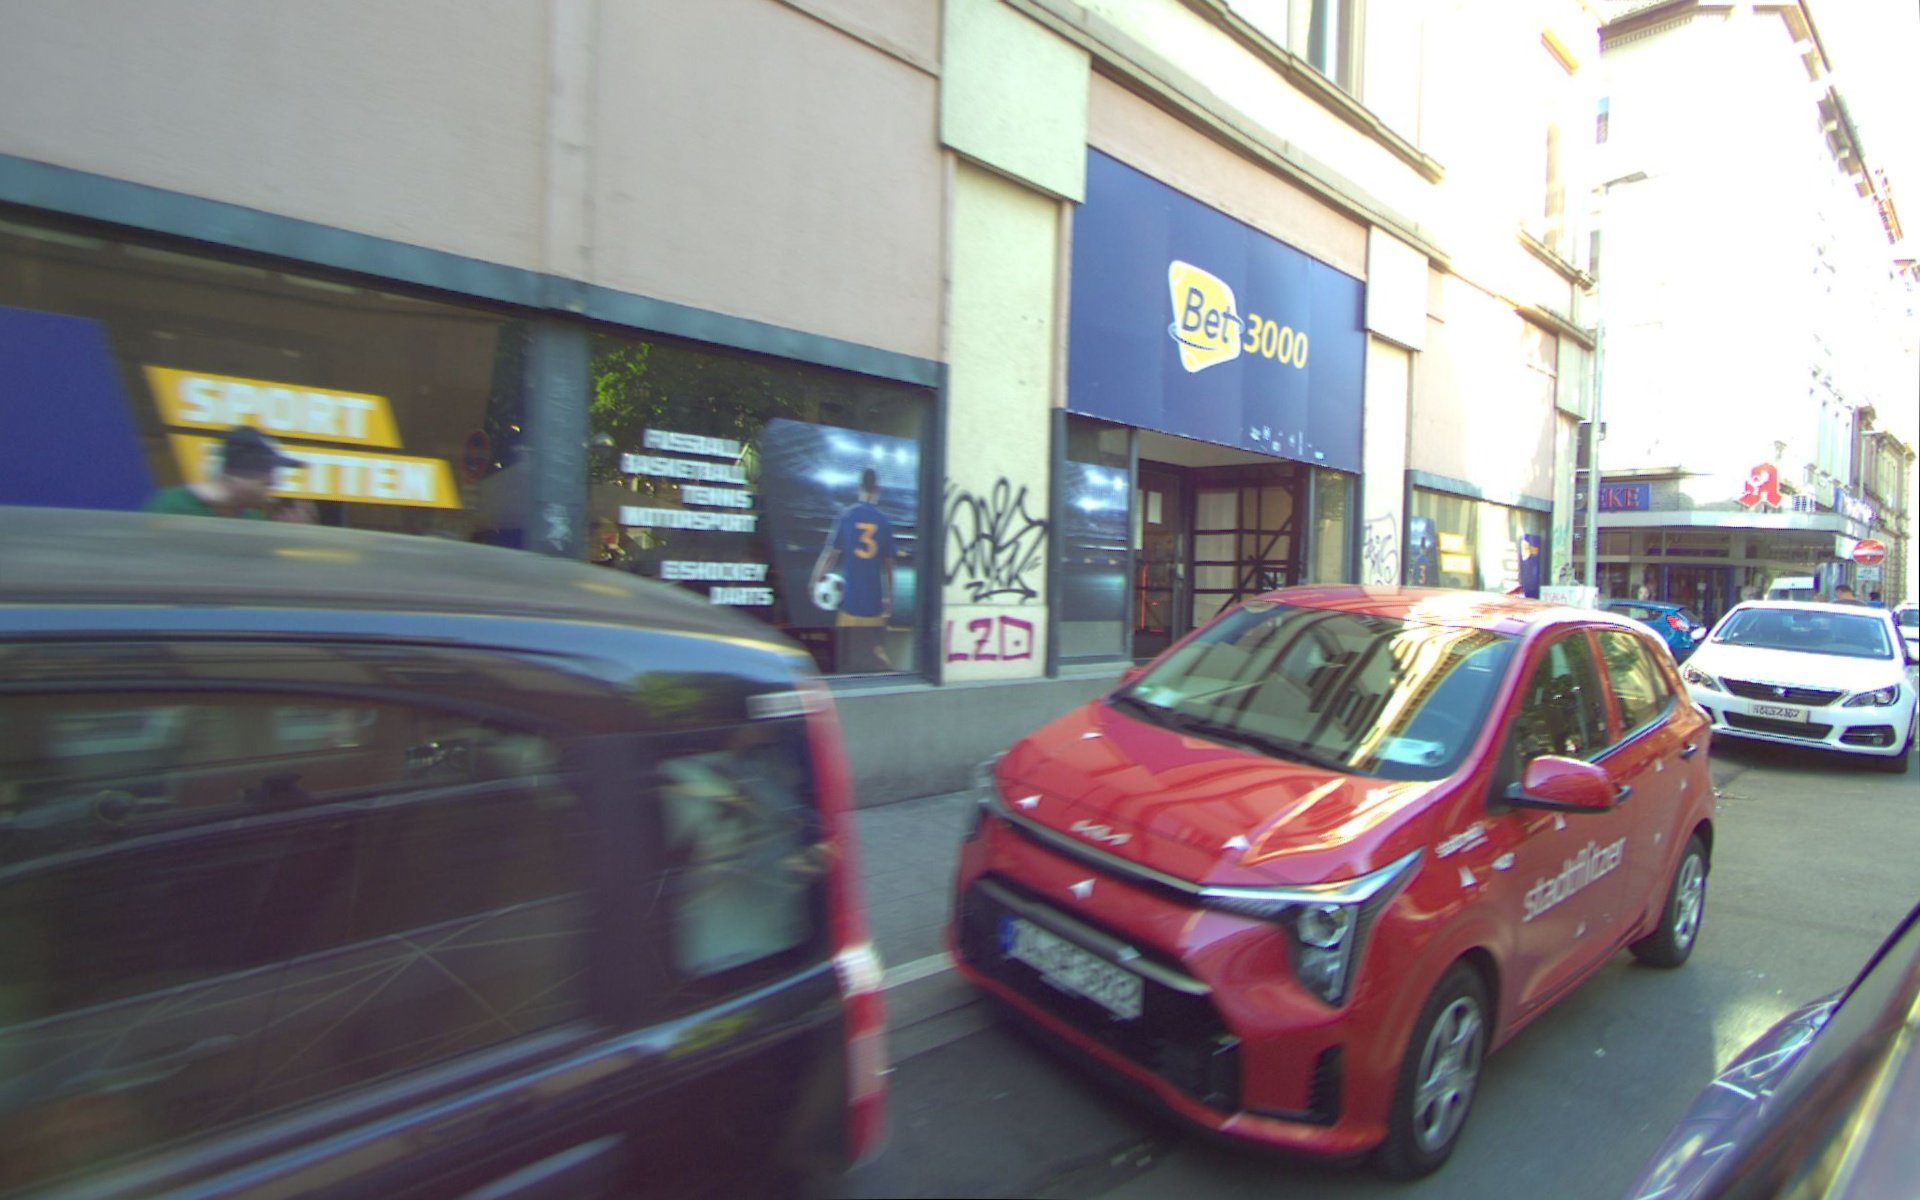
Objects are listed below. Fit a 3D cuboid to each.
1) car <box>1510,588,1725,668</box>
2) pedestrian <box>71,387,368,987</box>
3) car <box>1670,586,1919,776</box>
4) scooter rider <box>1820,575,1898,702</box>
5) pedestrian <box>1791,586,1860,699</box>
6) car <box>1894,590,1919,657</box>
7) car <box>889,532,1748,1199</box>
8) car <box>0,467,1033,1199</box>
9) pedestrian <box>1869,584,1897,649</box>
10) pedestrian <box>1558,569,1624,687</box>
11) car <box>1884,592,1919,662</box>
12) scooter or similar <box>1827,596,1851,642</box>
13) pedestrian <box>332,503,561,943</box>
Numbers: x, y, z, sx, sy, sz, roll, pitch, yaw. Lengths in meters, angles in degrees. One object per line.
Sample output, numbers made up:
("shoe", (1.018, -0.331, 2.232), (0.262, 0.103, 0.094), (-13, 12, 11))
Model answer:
("car", (14.249, 0.534, 22.044), (1.758, 1.504, 3.580), (0, 2, -41))
("pedestrian", (-2.493, 0.249, 3.423), (0.626, 1.762, 0.650), (0, 1, 35))
("car", (8.767, 0.639, 10.332), (4.069, 1.535, 1.788), (-1, 1, -45))
("scooter rider", (12.989, 0.534, 14.633), (0.554, 1.800, 0.612), (0, 1, -2))
("pedestrian", (12.887, 0.619, 15.073), (0.555, 1.659, 0.528), (0, 0, 2))
("car", (25.701, 0.584, 26.401), (3.996, 1.671, 1.701), (-1, 1, -44))
("car", (1.592, 0.627, 3.804), (3.493, 1.592, 1.608), (-1, 1, -43))
("car", (-1.672, 0.627, 0.997), (3.256, 1.575, 1.574), (-1, 5, -40))
("pedestrian", (27.435, 0.476, 30.077), (0.521, 1.917, 0.562), (0, 1, -42))
("pedestrian", (9.224, 0.401, 14.803), (0.455, 1.671, 0.602), (3, 0, -11))
("car", (22.293, 0.587, 23.060), (1.690, 1.481, 3.582), (1, 1, 45))
("scooter or similar", (25.361, 0.542, 29.191), (1.019, 1.296, 0.395), (-1, 1, -42))
("pedestrian", (-2.028, 0.426, 4.004), (0.587, 1.549, 0.649), (1, 1, 43))
